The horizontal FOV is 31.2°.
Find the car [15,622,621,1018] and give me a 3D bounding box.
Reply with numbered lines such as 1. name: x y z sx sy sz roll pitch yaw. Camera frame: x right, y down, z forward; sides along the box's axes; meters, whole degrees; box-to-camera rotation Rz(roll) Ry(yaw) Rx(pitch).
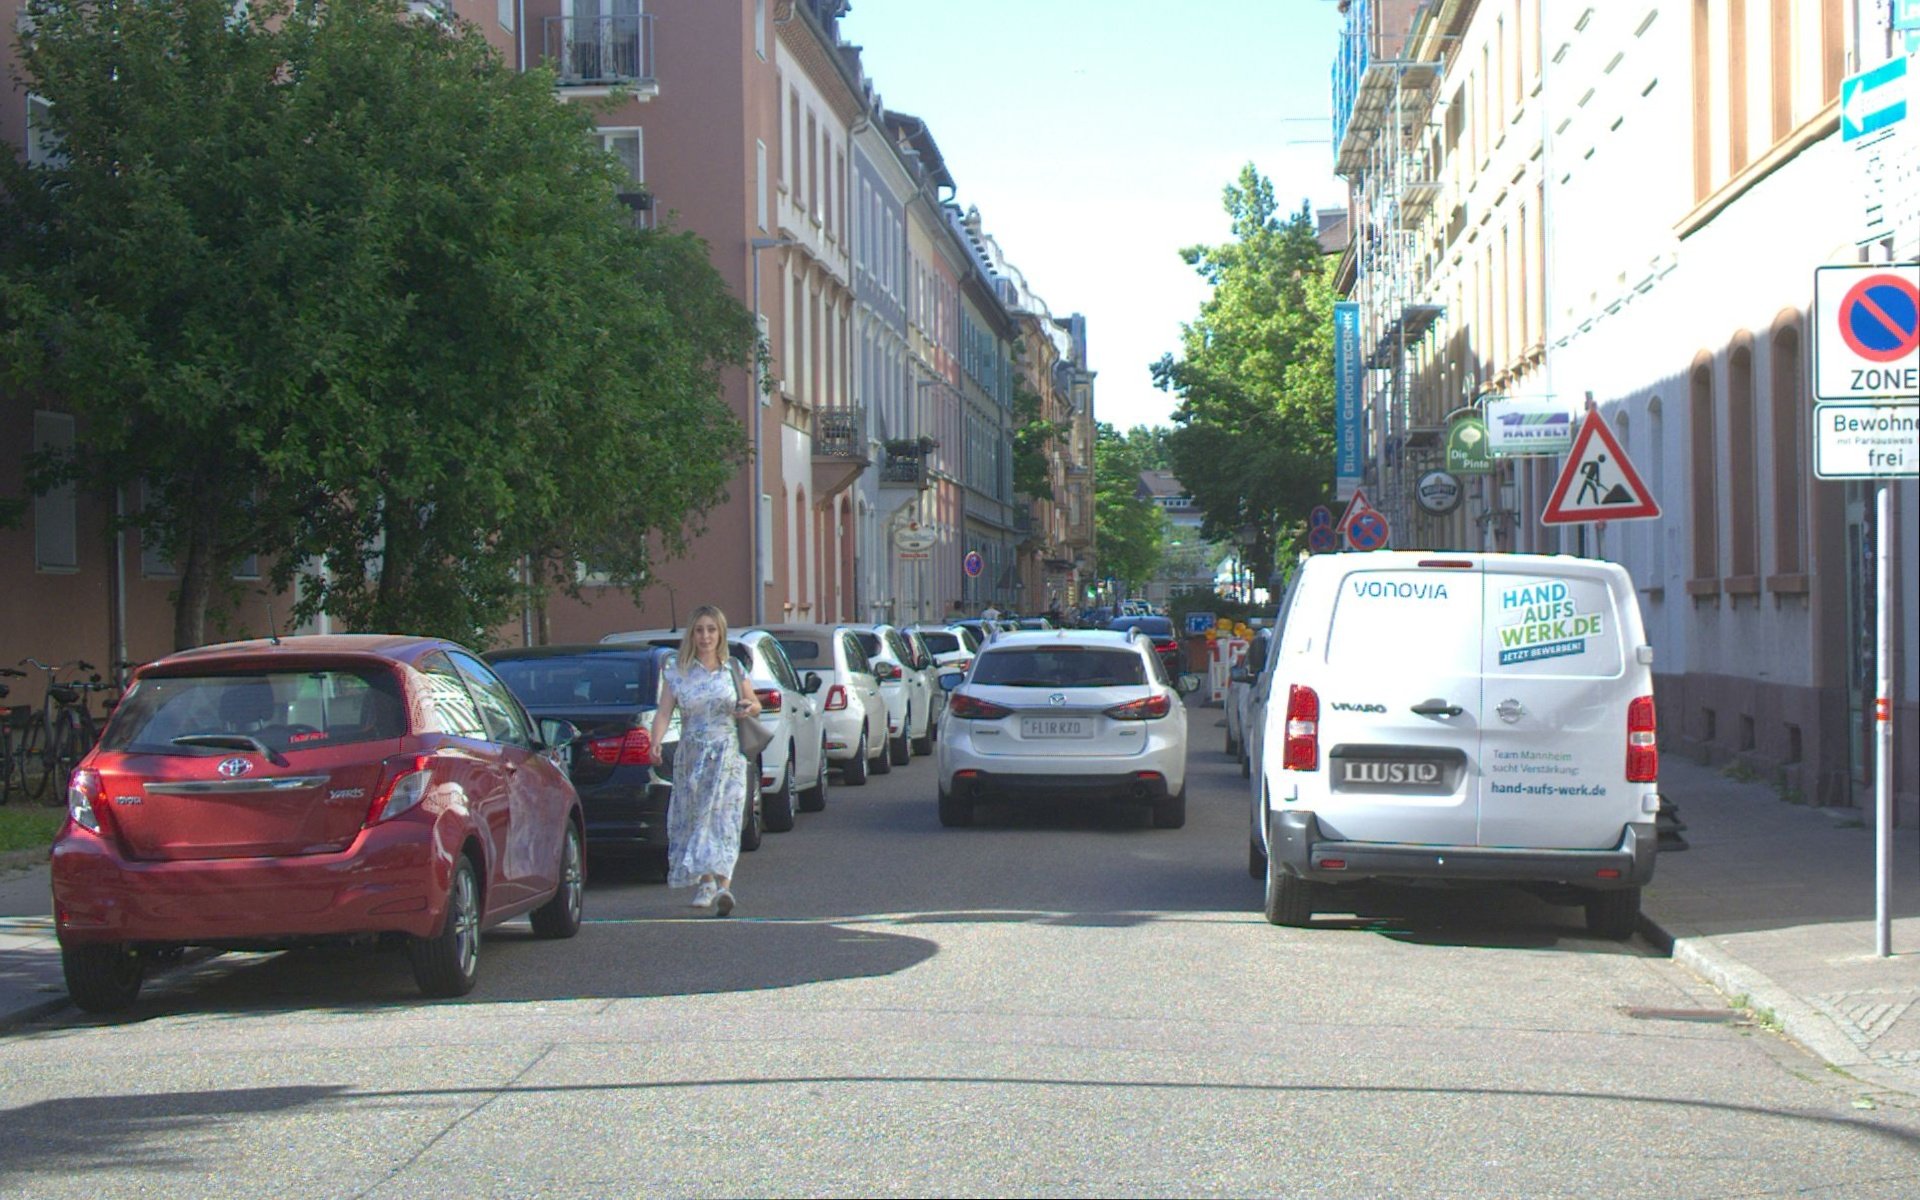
1. car: -2.734 0.886 15.495 1.685 1.495 3.806 -2 0 5

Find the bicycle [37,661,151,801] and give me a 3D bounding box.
1. bicycle: -6.815 1.017 27.036 1.216 1.068 0.253 -1 0 44

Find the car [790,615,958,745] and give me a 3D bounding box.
1. car: -1.015 0.949 42.355 1.654 1.495 3.762 -1 0 5

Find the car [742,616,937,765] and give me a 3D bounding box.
1. car: -1.253 0.940 37.164 1.654 1.495 3.762 -1 0 5

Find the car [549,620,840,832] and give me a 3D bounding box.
1. car: -1.986 0.923 26.686 1.654 1.495 3.762 -1 0 5

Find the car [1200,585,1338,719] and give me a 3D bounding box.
1. car: 4.475 0.717 49.856 1.895 1.853 3.994 -1 0 5

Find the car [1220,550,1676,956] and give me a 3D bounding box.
1. car: 2.474 0.711 18.626 1.895 1.853 5.013 2 0 2

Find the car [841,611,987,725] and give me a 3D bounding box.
1. car: -0.606 0.922 47.783 1.654 1.495 3.762 -1 0 5

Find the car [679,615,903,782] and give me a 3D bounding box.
1. car: -1.572 0.909 33.187 1.654 1.495 3.762 -1 0 5

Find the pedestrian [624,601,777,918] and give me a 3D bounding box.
1. pedestrian: -1.372 0.821 18.099 0.733 1.608 0.816 -1 0 -7

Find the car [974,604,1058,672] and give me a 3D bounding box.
1. car: 1.313 0.851 78.765 1.654 1.495 3.762 -1 0 5

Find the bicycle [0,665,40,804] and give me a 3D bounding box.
1. bicycle: -7.497 1.016 26.312 1.216 1.032 0.290 -1 0 44

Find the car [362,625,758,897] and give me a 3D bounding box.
1. car: -2.377 0.925 21.404 1.654 1.495 4.079 -1 0 5

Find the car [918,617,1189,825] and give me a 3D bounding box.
1. car: 0.787 0.931 26.215 1.831 1.452 3.961 -1 -2 5

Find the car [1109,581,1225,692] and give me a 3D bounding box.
1. car: 3.638 0.611 59.888 1.895 1.853 3.994 -1 0 5

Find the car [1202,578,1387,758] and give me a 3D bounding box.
1. car: 3.636 0.702 37.643 1.895 1.853 3.994 -1 0 5

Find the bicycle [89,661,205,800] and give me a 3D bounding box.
1. bicycle: -6.412 1.019 27.092 1.219 1.068 0.253 -1 0 44

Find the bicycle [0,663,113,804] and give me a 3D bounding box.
1. bicycle: -7.051 1.031 26.787 1.216 1.067 0.253 -1 0 44

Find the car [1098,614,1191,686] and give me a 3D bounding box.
1. car: 3.828 1.001 70.790 1.761 1.405 4.327 -1 0 5

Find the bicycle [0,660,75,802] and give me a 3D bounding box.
1. bicycle: -7.285 0.999 26.552 1.216 1.068 0.265 -1 0 44

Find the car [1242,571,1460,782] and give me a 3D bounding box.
1. car: 3.617 0.674 32.299 1.895 1.853 3.994 -1 0 5

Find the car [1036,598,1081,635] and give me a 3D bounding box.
1. car: 4.151 0.679 143.807 1.654 1.495 3.762 -1 0 5
